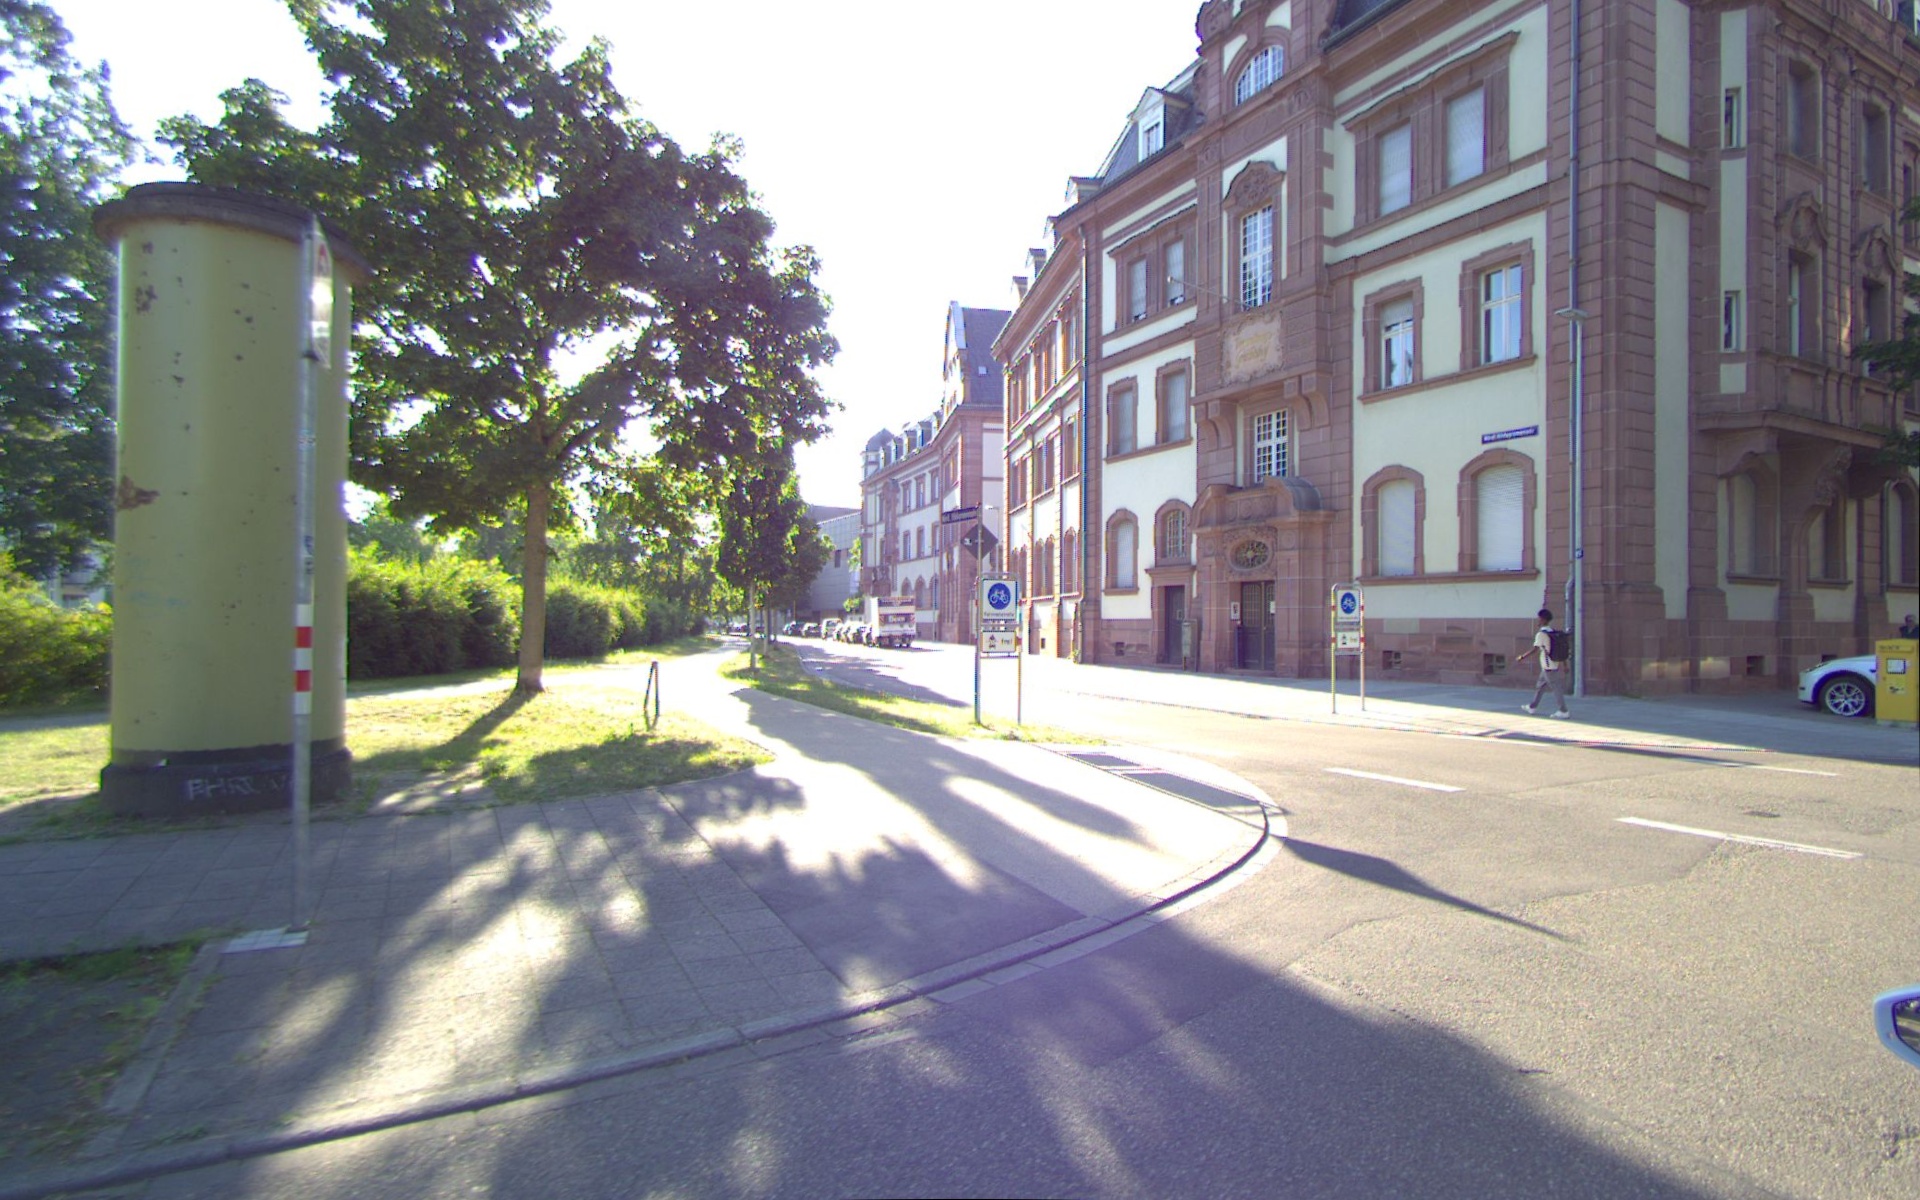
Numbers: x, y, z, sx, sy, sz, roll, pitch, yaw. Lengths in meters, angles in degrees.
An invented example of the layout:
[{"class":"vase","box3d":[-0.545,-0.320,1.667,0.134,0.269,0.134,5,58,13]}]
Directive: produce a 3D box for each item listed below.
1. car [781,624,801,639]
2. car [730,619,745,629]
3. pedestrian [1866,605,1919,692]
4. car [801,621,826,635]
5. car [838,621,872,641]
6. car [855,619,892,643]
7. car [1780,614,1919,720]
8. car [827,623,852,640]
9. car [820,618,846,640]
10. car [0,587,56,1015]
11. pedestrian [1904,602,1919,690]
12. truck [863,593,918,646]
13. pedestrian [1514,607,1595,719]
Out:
[{"class":"car","box3d":[-20.095,3.756,119.264,1.703,1.691,4.096,-1,-1,-20]},{"class":"car","box3d":[-34.719,3.766,156.428,1.672,1.459,3.530,0,-1,-23]},{"class":"pedestrian","box3d":[20.711,1.048,22.206,0.707,1.865,0.785,1,1,-26]},{"class":"car","box3d":[-16.050,3.014,109.837,1.727,1.486,4.456,1,-1,-20]},{"class":"car","box3d":[-8.083,2.382,76.988,1.846,1.455,4.509,-1,-1,-15]},{"class":"car","box3d":[-5.959,2.107,68.835,1.744,1.551,4.559,-1,-1,-14]},{"class":"car","box3d":[16.436,1.138,16.116,1.944,1.610,4.682,1,1,-31]},{"class":"car","box3d":[-10.523,2.758,87.451,1.656,1.421,4.188,1,-1,-14]},{"class":"car","box3d":[-12.409,2.867,98.040,1.966,1.992,4.837,-3,-1,-13]},{"class":"car","box3d":[-5.446,0.690,2.205,4.777,1.579,1.855,1,-1,-28]},{"class":"pedestrian","box3d":[20.632,0.986,21.262,0.605,1.865,0.721,1,1,-26]},{"class":"truck","box3d":[-4.440,1.218,63.262,2.587,3.162,6.073,0,-1,-13]},{"class":"pedestrian","box3d":[9.608,0.988,16.244,0.527,1.742,0.996,-1,0,-27]}]
